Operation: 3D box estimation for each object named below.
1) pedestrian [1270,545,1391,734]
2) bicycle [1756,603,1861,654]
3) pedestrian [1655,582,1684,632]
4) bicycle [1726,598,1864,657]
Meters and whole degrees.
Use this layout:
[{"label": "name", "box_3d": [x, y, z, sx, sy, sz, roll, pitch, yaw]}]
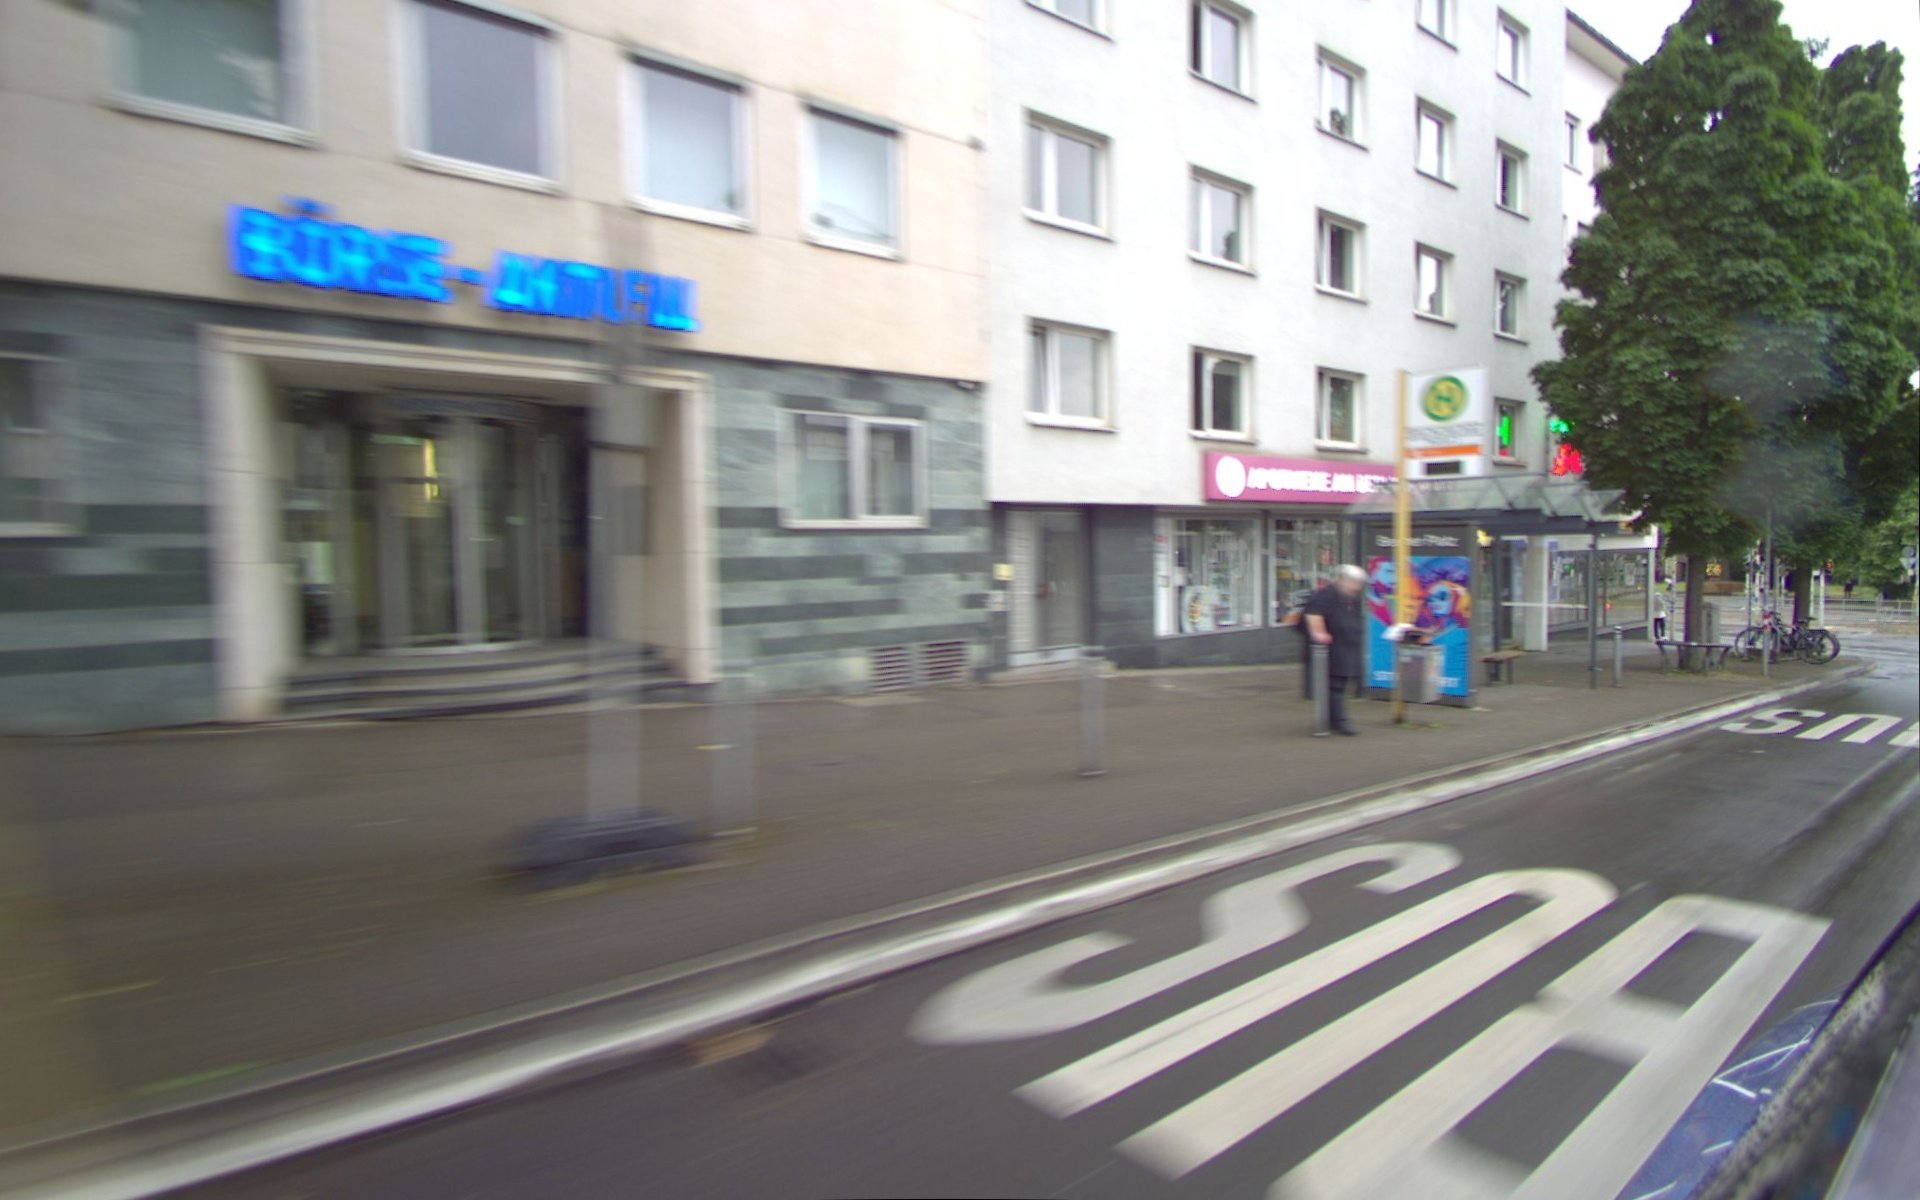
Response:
[{"label": "pedestrian", "box_3d": [3.443, 0.332, 9.388, 0.951, 1.646, 0.666, 0, 1, -42]}, {"label": "bicycle", "box_3d": [20.413, 0.673, 24.381, 0.637, 1.105, 1.822, 1, 1, -37]}, {"label": "pedestrian", "box_3d": [25.300, 0.241, 36.099, 0.519, 1.733, 0.706, 0, 1, 1]}, {"label": "bicycle", "box_3d": [19.027, 0.593, 23.125, 0.637, 1.188, 2.323, -1, 3, -37]}]
